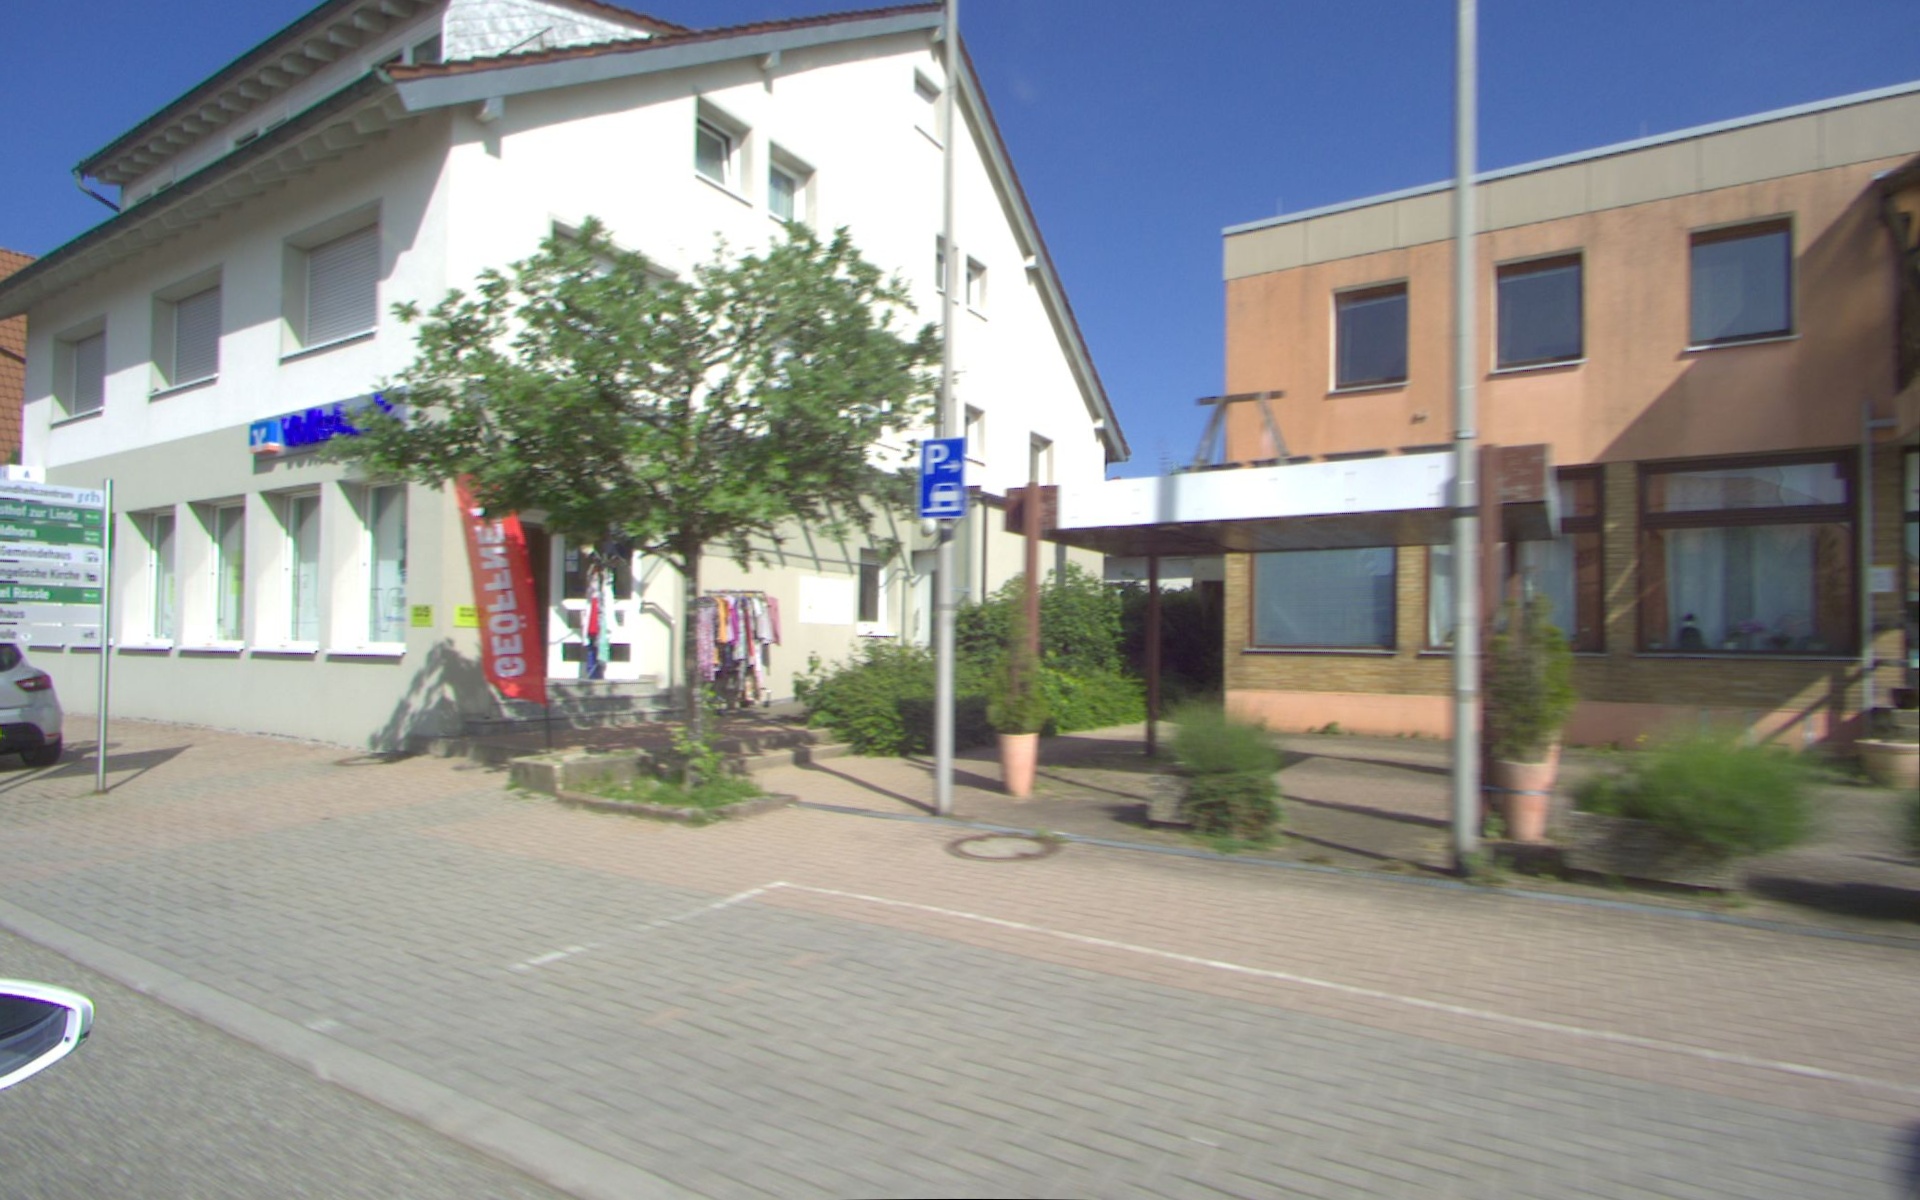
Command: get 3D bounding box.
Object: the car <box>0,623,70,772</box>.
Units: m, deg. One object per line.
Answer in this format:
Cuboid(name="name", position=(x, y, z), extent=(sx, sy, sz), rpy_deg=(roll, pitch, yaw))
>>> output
Cuboid(name="car", position=(-11.176, 0.976, 10.473), extent=(3.876, 1.438, 1.633), rpy_deg=(-1, 0, 30))
